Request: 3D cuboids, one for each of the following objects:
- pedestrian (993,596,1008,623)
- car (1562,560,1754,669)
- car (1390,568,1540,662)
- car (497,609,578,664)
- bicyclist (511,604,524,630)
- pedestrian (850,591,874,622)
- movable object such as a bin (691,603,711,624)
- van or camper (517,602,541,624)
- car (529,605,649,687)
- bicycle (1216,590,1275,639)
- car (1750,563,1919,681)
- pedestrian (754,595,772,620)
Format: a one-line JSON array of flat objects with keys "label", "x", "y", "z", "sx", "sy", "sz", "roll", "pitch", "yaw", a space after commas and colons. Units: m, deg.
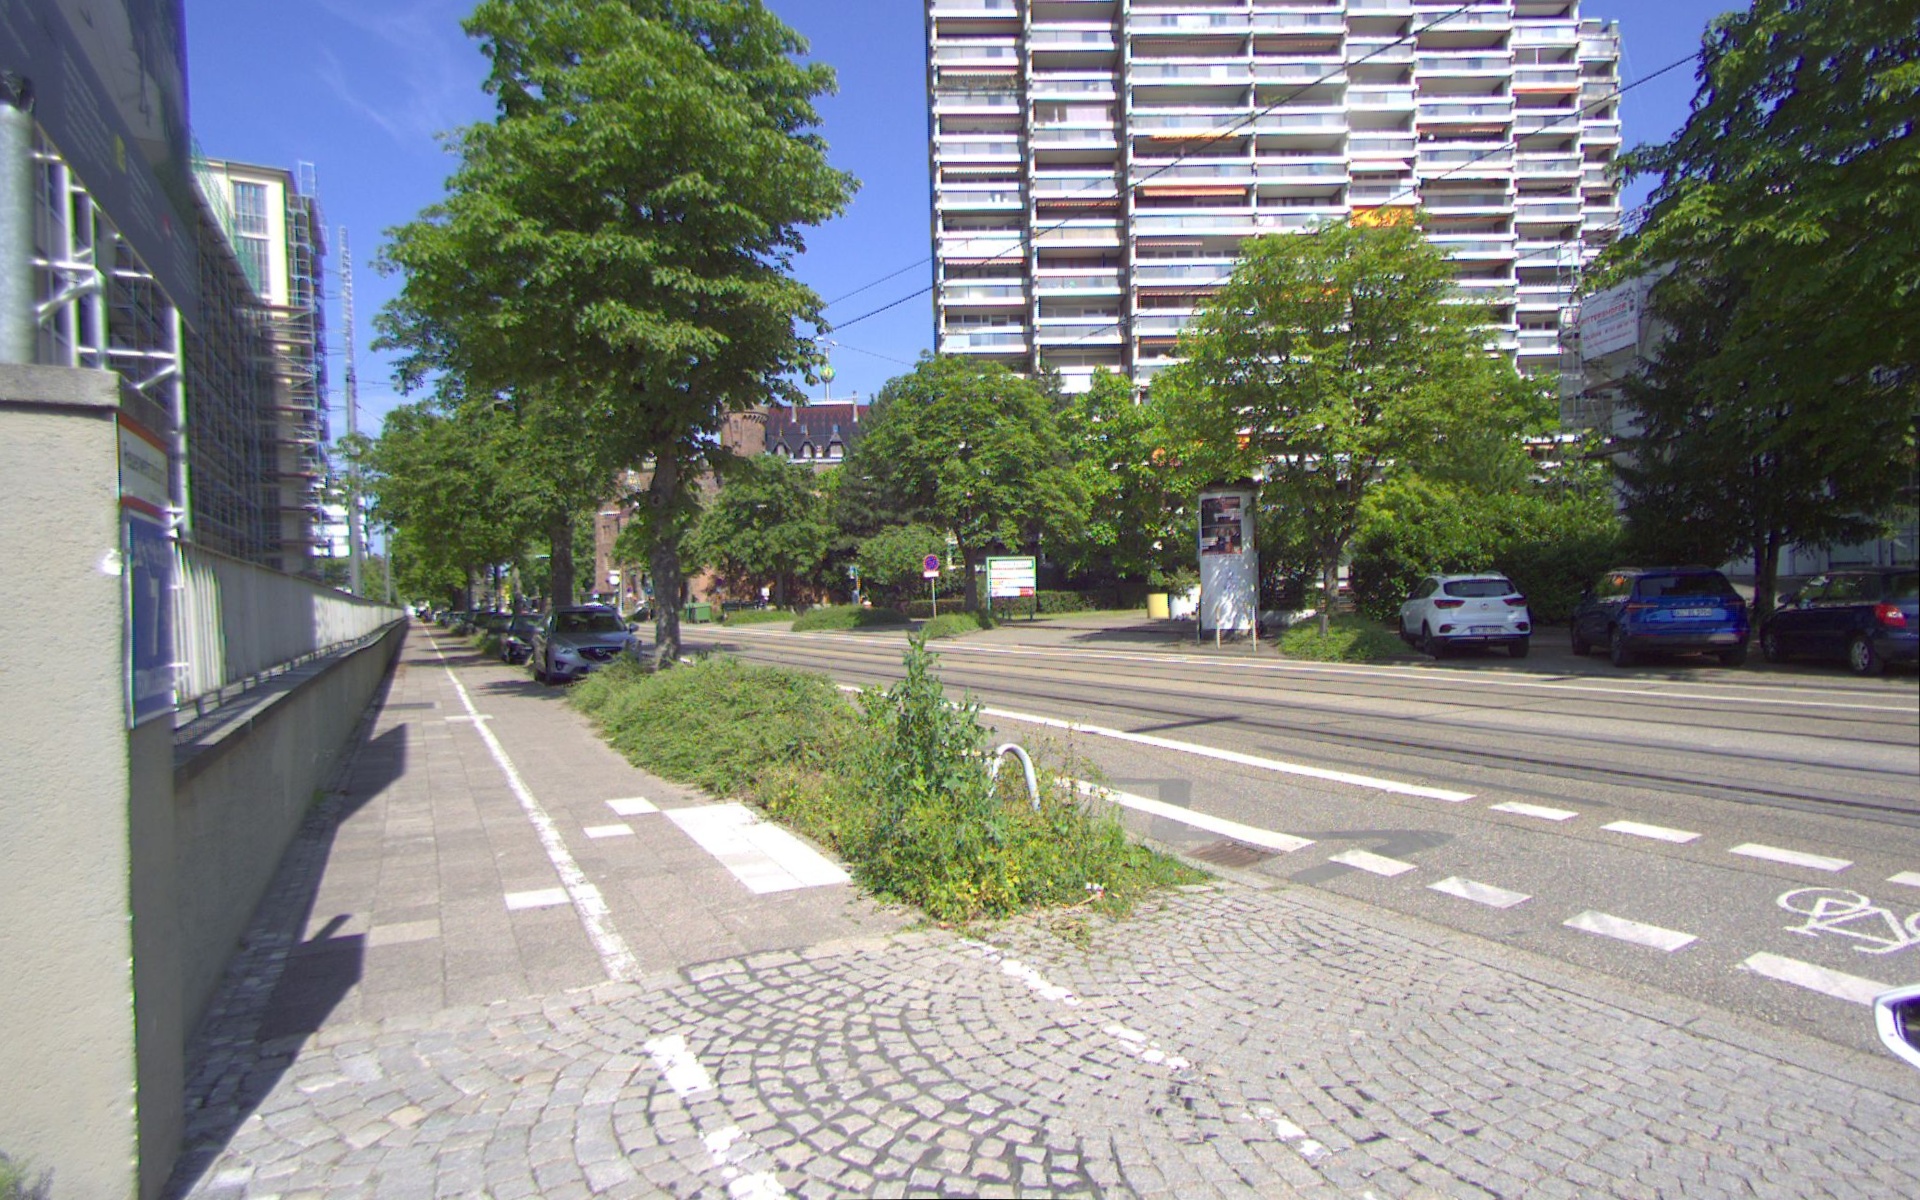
[{"label": "pedestrian", "x": 1.789, "y": 0.405, "z": 43.998, "sx": 0.524, "sy": 1.169, "sz": 0.700, "roll": -2, "pitch": 0, "yaw": -7}, {"label": "car", "x": 11.974, "y": 0.178, "z": 17.526, "sx": 1.746, "sy": 1.644, "sz": 3.944, "roll": -2, "pitch": 1, "yaw": 20}, {"label": "car", "x": 10.107, "y": 0.266, "z": 20.433, "sx": 1.783, "sy": 1.627, "sz": 3.947, "roll": -4, "pitch": 0, "yaw": 14}, {"label": "car", "x": -12.709, "y": 1.044, "z": 30.118, "sx": 1.799, "sy": 1.472, "sz": 3.970, "roll": -2, "pitch": 0, "yaw": -29}, {"label": "bicyclist", "x": -27.947, "y": 1.094, "z": 63.466, "sx": 0.625, "sy": 1.628, "sz": 0.696, "roll": -2, "pitch": 0, "yaw": -31}, {"label": "pedestrian", "x": -5.788, "y": 0.392, "z": 59.122, "sx": 1.046, "sy": 1.822, "sz": 1.257, "roll": 0, "pitch": 0, "yaw": -25}, {"label": "movable object such as a bin", "x": -18.416, "y": 0.968, "z": 71.386, "sx": 1.248, "sy": 1.473, "sz": 1.073, "roll": -1, "pitch": 0, "yaw": -23}, {"label": "van or camper", "x": -54.505, "y": 1.614, "z": 126.949, "sx": 2.026, "sy": 2.655, "sz": 5.815, "roll": -2, "pitch": 0, "yaw": -30}, {"label": "car", "x": -8.047, "y": 0.925, "z": 21.583, "sx": 1.799, "sy": 1.514, "sz": 4.077, "roll": -2, "pitch": 0, "yaw": -29}, {"label": "bicycle", "x": 7.912, "y": 0.404, "z": 27.890, "sx": 0.541, "sy": 1.326, "sz": 1.606, "roll": -1, "pitch": 0, "yaw": -34}, {"label": "car", "x": 13.445, "y": 0.268, "z": 14.837, "sx": 1.545, "sy": 1.551, "sz": 3.459, "roll": -2, "pitch": 0, "yaw": 15}, {"label": "pedestrian", "x": -14.808, "y": 0.580, "z": 75.444, "sx": 1.045, "sy": 1.822, "sz": 1.257, "roll": 0, "pitch": 0, "yaw": -24}]
